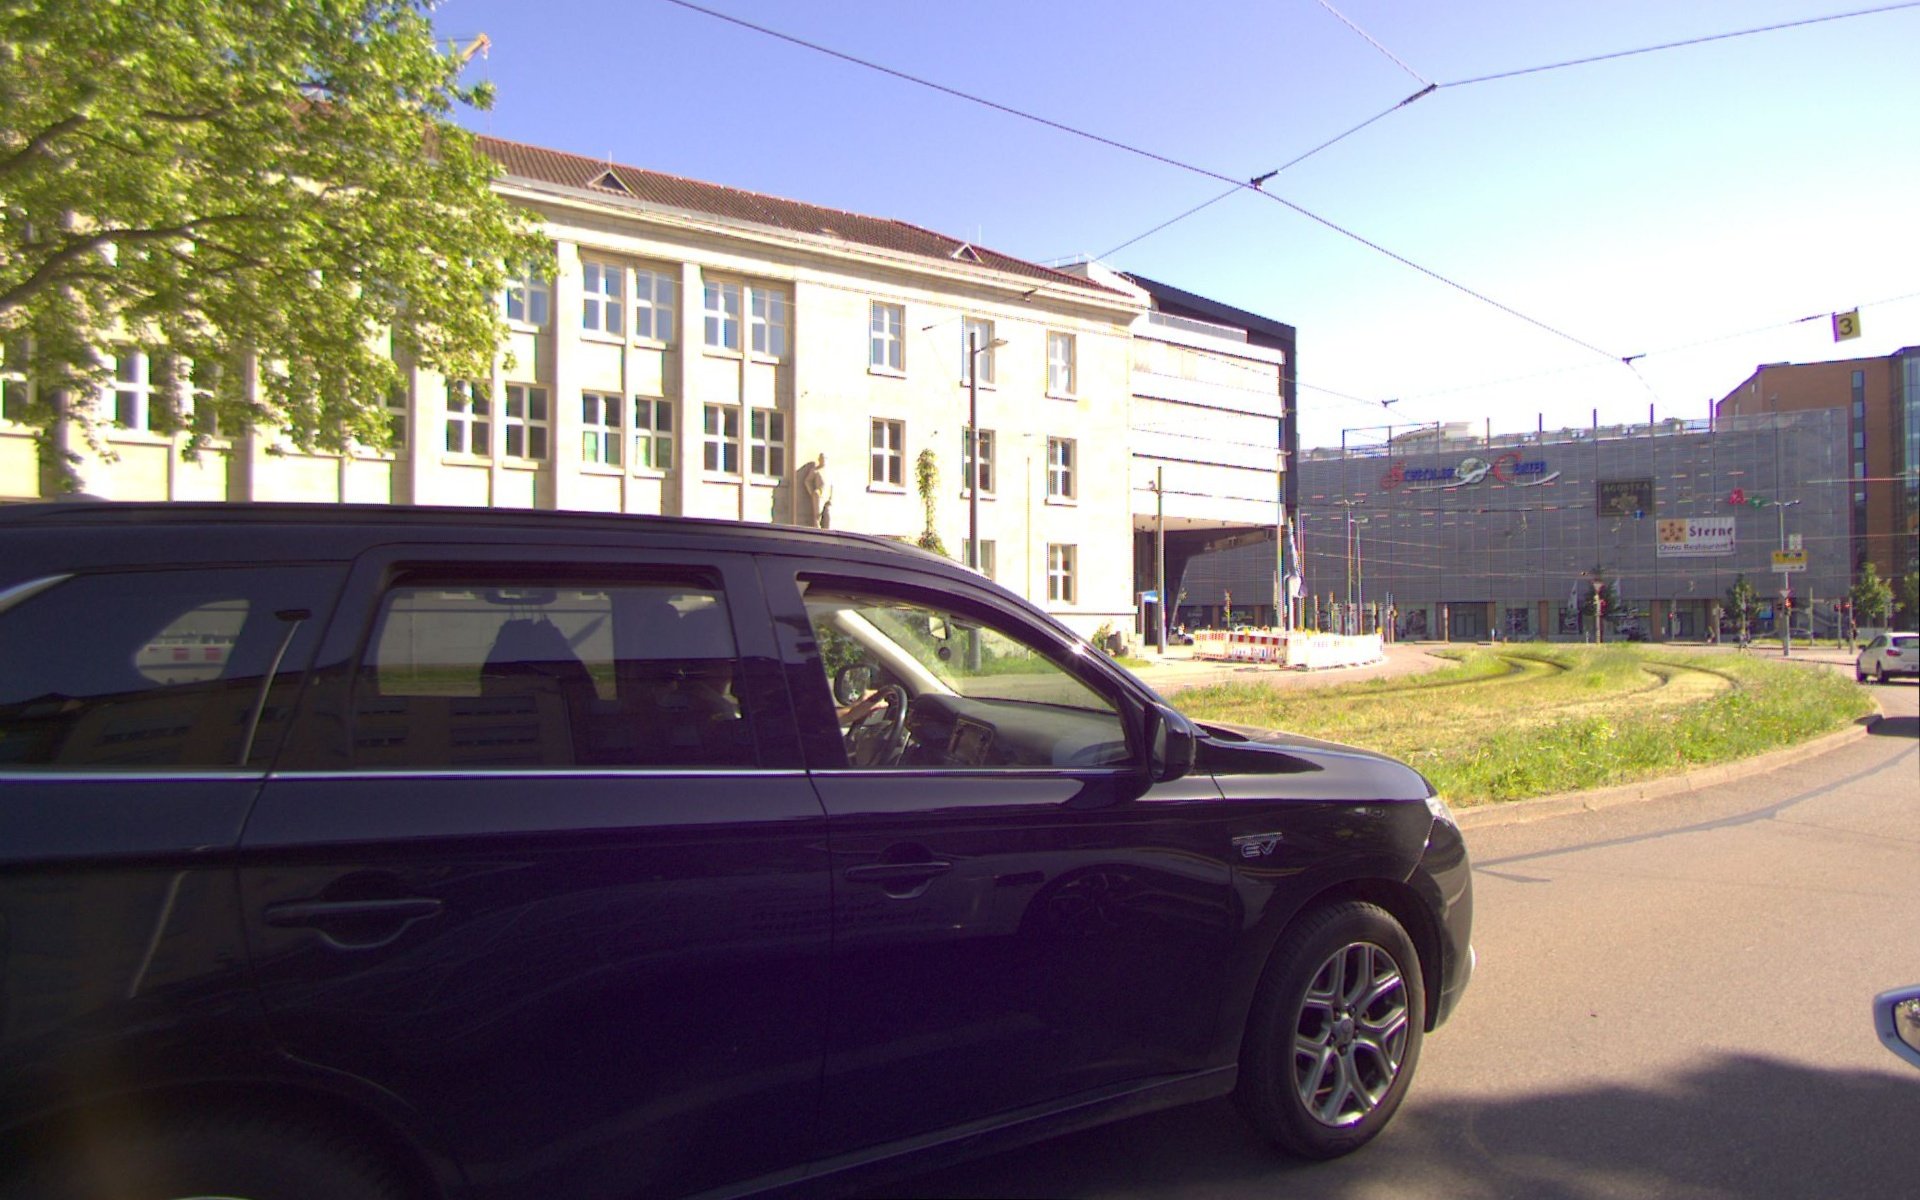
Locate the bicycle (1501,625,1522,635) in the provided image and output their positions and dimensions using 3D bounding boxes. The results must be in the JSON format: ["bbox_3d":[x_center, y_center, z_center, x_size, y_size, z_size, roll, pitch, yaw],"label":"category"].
[{"bbox_3d":[61.986,3.372,112.899,1.994,1.073,1.144,-1,-2,23],"label":"bicycle"}]

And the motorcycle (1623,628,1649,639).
[{"bbox_3d":[72.909,3.604,108.416,2.167,1.056,1.061,0,-1,24],"label":"motorcycle"}]

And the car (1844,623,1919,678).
[{"bbox_3d":[26.581,1.434,28.508,1.609,1.442,3.773,2,-1,32],"label":"car"}]

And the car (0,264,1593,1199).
[{"bbox_3d":[-0.399,0.435,2.936,4.585,1.704,1.828,1,-1,-29],"label":"car"}]

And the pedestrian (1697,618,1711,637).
[{"bbox_3d":[70.692,2.632,95.410,0.839,1.761,0.754,-1,-1,17],"label":"pedestrian"}]

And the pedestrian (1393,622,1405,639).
[{"bbox_3d":[49.167,3.368,112.518,0.809,1.893,0.901,1,-1,-24],"label":"pedestrian"}]

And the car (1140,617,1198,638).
[{"bbox_3d":[17.186,2.235,82.495,4.417,1.656,1.838,0,0,23],"label":"car"}]

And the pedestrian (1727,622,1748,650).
[{"bbox_3d":[47.932,2.234,61.930,0.871,1.730,0.712,0,-1,23],"label":"pedestrian"}]

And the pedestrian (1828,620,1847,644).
[{"bbox_3d":[62.833,2.298,71.943,0.793,1.731,0.761,0,-1,23],"label":"pedestrian"}]

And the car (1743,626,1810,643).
[{"bbox_3d":[74.004,3.154,91.101,4.416,1.514,1.494,-1,-2,24],"label":"car"}]

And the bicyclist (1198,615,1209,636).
[{"bbox_3d":[19.235,1.994,79.296,0.770,1.670,0.690,0,-1,21],"label":"bicyclist"}]

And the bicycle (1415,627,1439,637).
[{"bbox_3d":[51.533,3.519,110.837,2.209,1.085,1.042,0,-1,-17],"label":"bicycle"}]

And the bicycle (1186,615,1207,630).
[{"bbox_3d":[18.777,1.803,79.662,1.550,1.121,0.735,-2,-2,18],"label":"bicycle"}]

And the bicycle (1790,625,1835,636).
[{"bbox_3d":[86.894,3.073,102.378,3.311,1.091,1.115,0,-1,30],"label":"bicycle"}]

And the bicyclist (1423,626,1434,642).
[{"bbox_3d":[51.712,3.740,110.848,0.832,1.827,0.813,0,-1,-18],"label":"bicyclist"}]
